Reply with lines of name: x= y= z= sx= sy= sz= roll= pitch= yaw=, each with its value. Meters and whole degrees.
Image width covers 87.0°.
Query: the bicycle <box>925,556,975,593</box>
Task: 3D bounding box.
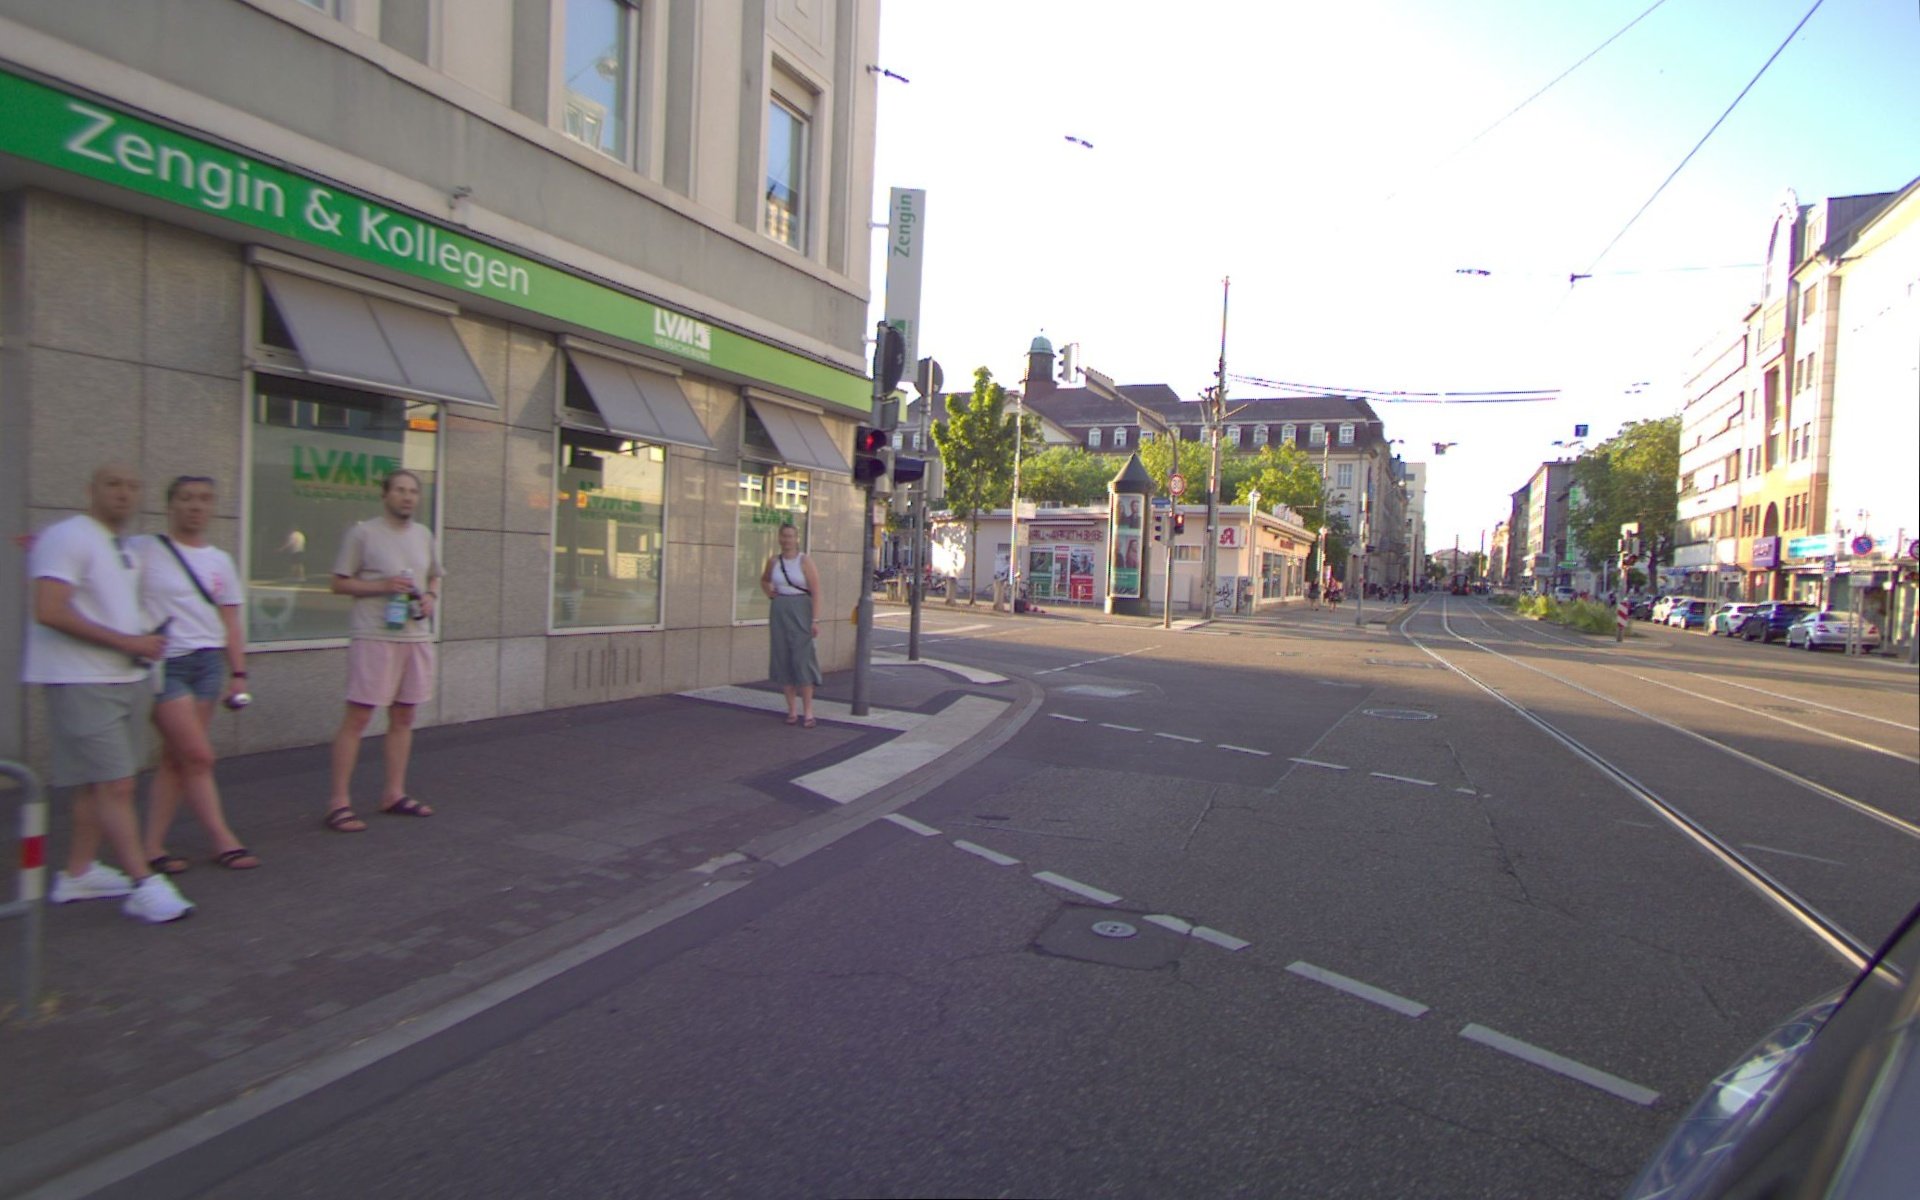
bicycle: x=-0.416 y=-1.112 z=44.176 sx=2.189 sy=1.541 sz=0.680 roll=1 pitch=3 yaw=-39

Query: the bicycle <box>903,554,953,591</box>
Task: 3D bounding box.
bicycle: x=-1.425 y=-1.213 z=44.737 sx=2.189 sy=1.541 sz=0.680 roll=1 pitch=3 yaw=-39

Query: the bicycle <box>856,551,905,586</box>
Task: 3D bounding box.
bicycle: x=-3.670 y=-1.455 z=46.944 sx=2.187 sy=1.541 sz=0.681 roll=1 pitch=2 yaw=-35

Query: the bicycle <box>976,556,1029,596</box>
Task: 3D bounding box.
bicycle: x=1.733 y=-0.965 z=40.845 sx=2.189 sy=1.541 sz=0.680 roll=1 pitch=3 yaw=-39

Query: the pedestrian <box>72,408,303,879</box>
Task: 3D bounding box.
pedestrian: x=-3.437 y=0.162 z=4.524 sx=0.631 sy=1.952 sz=0.527 roll=3 pitch=2 yaw=15

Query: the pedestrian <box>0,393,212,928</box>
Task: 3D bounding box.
pedestrian: x=-3.424 y=0.205 z=3.996 sx=0.568 sy=1.952 sz=0.494 roll=3 pitch=2 yaw=16

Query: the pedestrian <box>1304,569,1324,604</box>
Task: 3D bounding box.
pedestrian: x=16.889 y=-0.648 z=48.266 sx=0.798 sy=1.632 sz=0.985 roll=2 pitch=2 yaw=26

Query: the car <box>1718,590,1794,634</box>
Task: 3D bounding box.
car: x=33.938 y=0.478 z=43.258 sx=1.833 sy=1.655 sz=3.961 roll=3 pitch=2 yaw=28

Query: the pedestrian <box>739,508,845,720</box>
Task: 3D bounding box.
pedestrian: x=-1.495 y=0.105 z=9.054 sx=0.663 sy=1.800 sz=0.644 roll=3 pitch=2 yaw=17

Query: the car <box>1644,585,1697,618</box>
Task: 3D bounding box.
car: x=38.877 y=0.057 z=55.452 sx=1.833 sy=1.655 sz=3.961 roll=3 pitch=2 yaw=28

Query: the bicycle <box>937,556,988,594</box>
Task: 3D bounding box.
bicycle: x=0.124 y=-1.059 z=42.939 sx=2.189 sy=1.541 sz=0.680 roll=1 pitch=3 yaw=-39

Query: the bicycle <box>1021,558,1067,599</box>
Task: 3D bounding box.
bicycle: x=3.275 y=-0.845 z=39.431 sx=1.956 sy=1.541 sz=0.479 roll=1 pitch=3 yaw=-39

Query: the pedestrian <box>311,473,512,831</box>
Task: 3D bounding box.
pedestrian: x=-2.934 y=0.235 z=5.439 sx=0.634 sy=1.766 sz=0.692 roll=3 pitch=2 yaw=28

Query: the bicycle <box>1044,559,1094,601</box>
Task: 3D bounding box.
bicycle: x=4.158 y=-0.771 z=38.571 sx=1.953 sy=1.541 sz=0.479 roll=1 pitch=2 yaw=-33

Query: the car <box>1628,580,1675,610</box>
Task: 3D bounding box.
car: x=41.862 y=-0.311 z=61.328 sx=1.833 sy=1.655 sz=3.961 roll=3 pitch=2 yaw=28

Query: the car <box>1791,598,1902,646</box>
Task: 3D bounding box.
car: x=29.133 y=0.677 z=33.396 sx=1.833 sy=1.310 sz=3.961 roll=3 pitch=2 yaw=28

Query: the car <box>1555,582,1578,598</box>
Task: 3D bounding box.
car: x=64.790 y=-1.083 z=108.169 sx=1.833 sy=1.655 sz=3.961 roll=3 pitch=2 yaw=28

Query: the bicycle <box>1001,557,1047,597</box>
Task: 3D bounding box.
bicycle: x=2.552 y=-0.907 z=40.174 sx=1.956 sy=1.541 sz=0.479 roll=1 pitch=3 yaw=-39

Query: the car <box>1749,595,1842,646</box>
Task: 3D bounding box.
car: x=30.957 y=0.693 z=37.637 sx=1.833 sy=1.655 sz=3.961 roll=3 pitch=2 yaw=28

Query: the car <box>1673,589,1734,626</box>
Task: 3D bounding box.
car: x=36.958 y=0.342 z=50.416 sx=1.833 sy=1.655 sz=3.961 roll=3 pitch=2 yaw=28

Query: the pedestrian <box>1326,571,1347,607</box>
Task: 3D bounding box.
pedestrian: x=17.747 y=-0.529 z=47.738 sx=0.798 sy=1.632 sz=0.985 roll=2 pitch=2 yaw=26

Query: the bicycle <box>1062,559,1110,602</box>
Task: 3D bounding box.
bicycle: x=4.671 y=-0.701 z=37.459 sx=1.956 sy=1.541 sz=0.479 roll=1 pitch=3 yaw=-40
